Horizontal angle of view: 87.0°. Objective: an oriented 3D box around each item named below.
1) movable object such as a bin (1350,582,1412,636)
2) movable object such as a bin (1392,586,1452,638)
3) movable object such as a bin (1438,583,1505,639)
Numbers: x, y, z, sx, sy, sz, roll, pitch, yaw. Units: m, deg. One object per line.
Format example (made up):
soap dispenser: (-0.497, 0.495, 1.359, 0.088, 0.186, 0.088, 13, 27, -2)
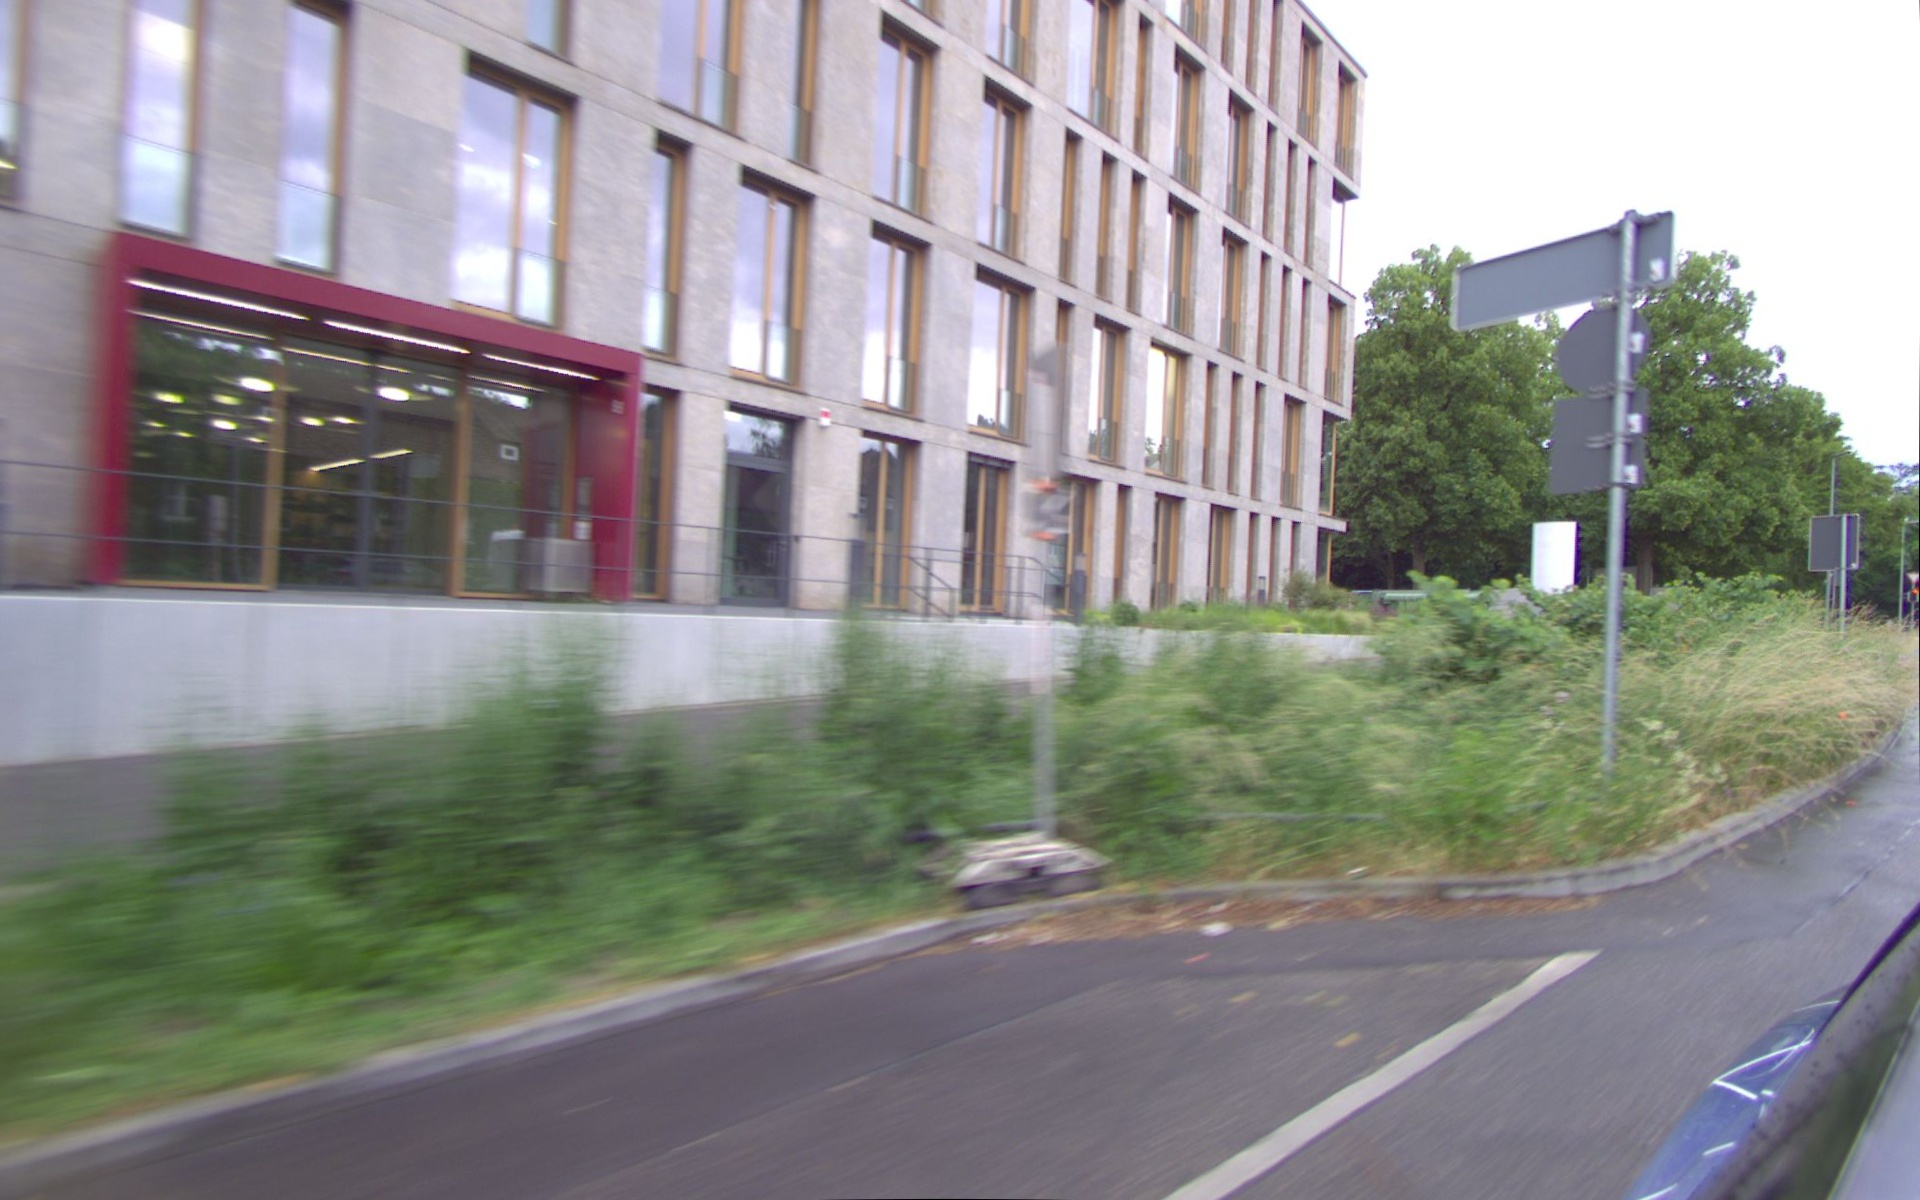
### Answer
movable object such as a bin: (12.389, 0.250, 29.780, 1.362, 1.523, 1.198, 0, 0, -39)
movable object such as a bin: (13.118, 0.333, 28.723, 1.128, 1.417, 1.100, -1, -2, -37)
movable object such as a bin: (14.036, 0.315, 27.783, 1.090, 1.477, 1.250, -1, -2, -37)
